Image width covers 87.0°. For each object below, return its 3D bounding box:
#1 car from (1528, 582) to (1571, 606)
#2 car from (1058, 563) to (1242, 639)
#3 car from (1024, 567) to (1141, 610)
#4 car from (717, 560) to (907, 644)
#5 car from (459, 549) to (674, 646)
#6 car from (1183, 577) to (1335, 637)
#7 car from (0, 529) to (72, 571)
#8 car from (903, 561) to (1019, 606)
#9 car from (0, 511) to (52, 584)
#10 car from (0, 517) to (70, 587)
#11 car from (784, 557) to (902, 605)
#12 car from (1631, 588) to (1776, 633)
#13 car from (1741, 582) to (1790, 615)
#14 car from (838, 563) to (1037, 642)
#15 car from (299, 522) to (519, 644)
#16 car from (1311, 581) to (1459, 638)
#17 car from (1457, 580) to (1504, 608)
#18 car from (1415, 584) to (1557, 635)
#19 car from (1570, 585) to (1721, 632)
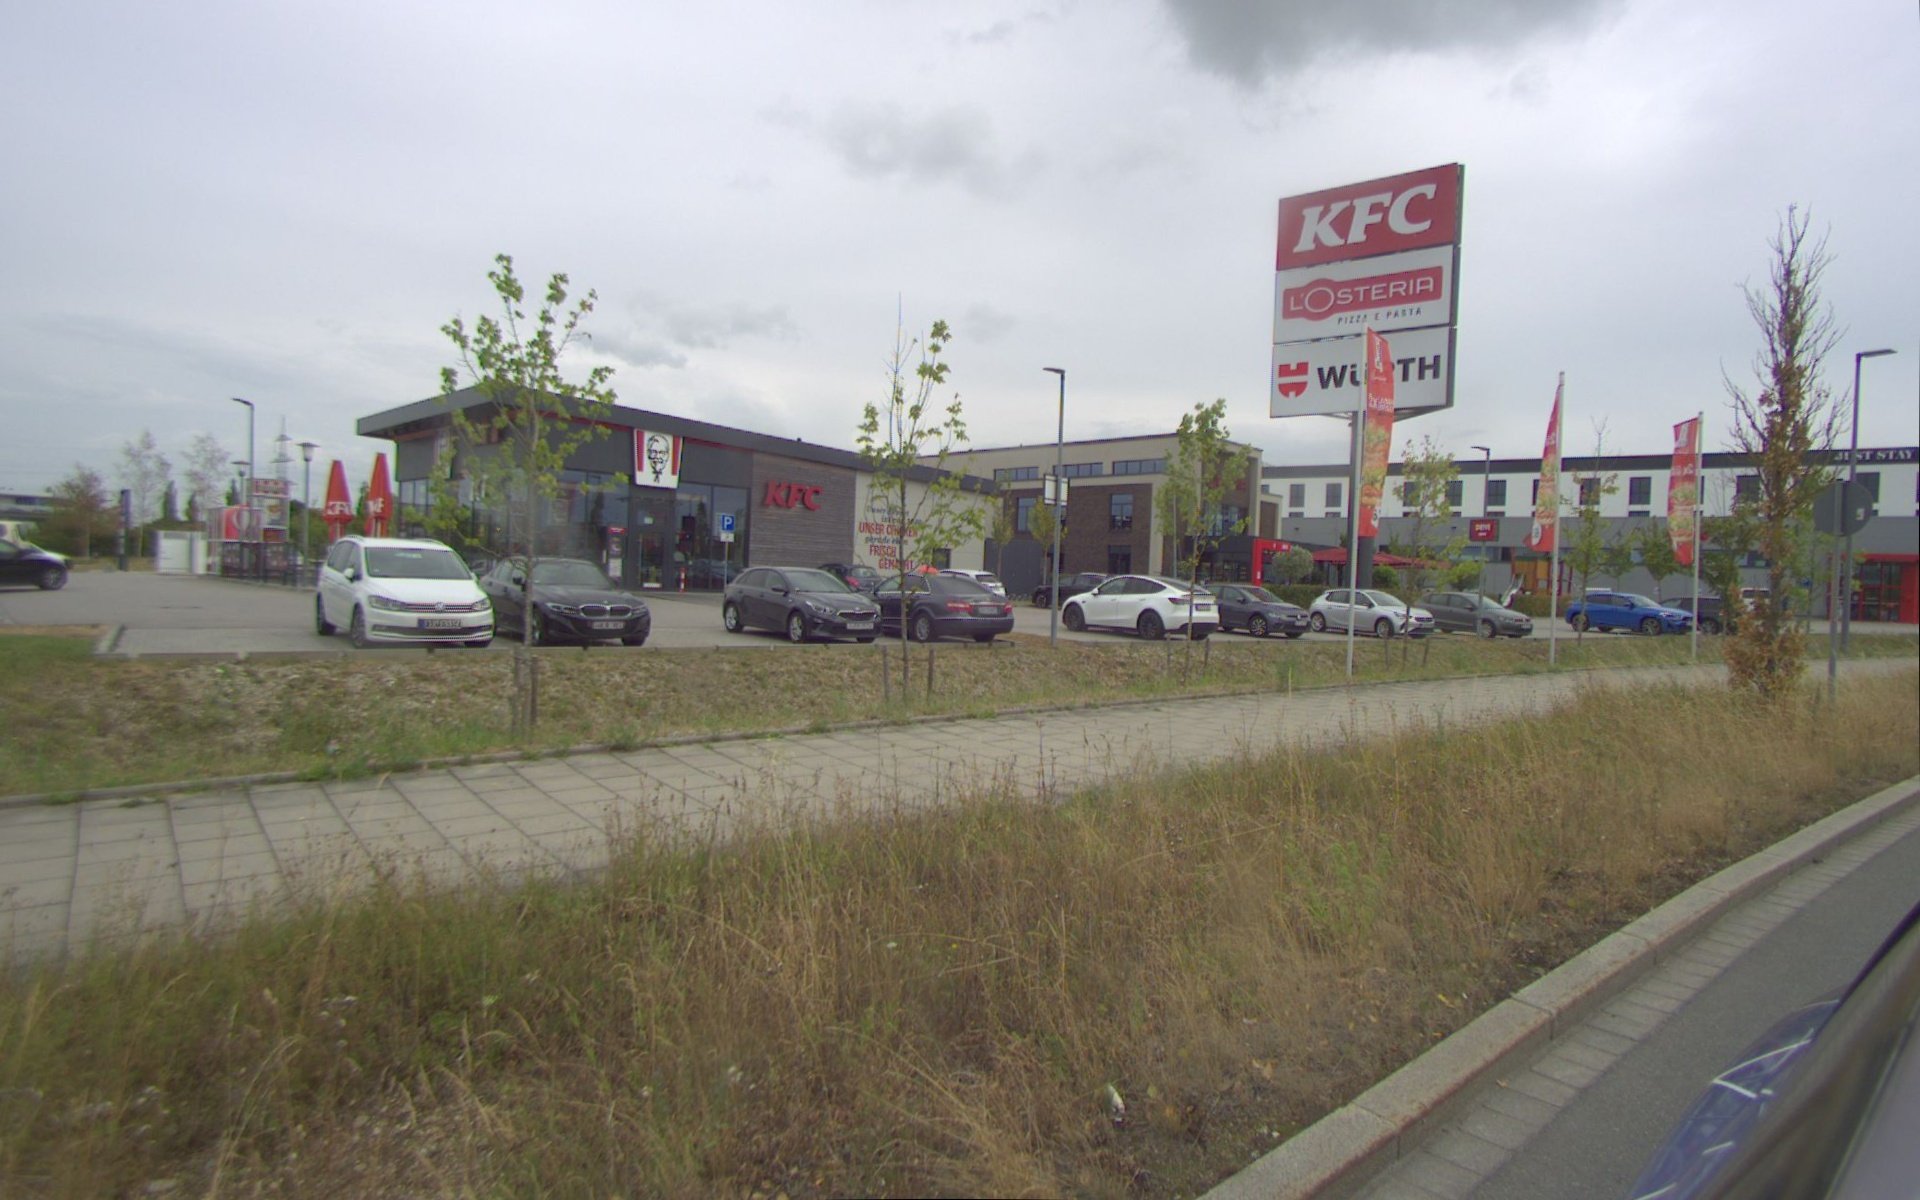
[{"bbox_3d":[42.353,-0.461,72.662,2.070,1.537,4.515,4,3,37],"label":"car"},{"bbox_3d":[4.830,-0.034,26.418,2.048,1.665,4.580,1,3,-34],"label":"car"},{"bbox_3d":[5.023,-0.513,41.938,4.564,1.537,1.946,4,3,45],"label":"car"},{"bbox_3d":[-3.103,-0.019,20.610,1.909,1.456,4.092,1,2,-41],"label":"car"},{"bbox_3d":[-6.971,-0.111,17.661,2.038,1.454,4.475,1,2,-42],"label":"car"},{"bbox_3d":[8.660,0.150,29.620,1.902,1.503,4.005,0,2,-30],"label":"car"},{"bbox_3d":[-47.509,-2.499,49.857,2.311,1.964,5.490,3,2,43],"label":"car"},{"bbox_3d":[-0.011,-0.676,40.362,2.046,1.537,4.567,0,3,-43],"label":"car"},{"bbox_3d":[-34.043,-1.830,33.445,5.579,2.380,2.538,1,1,-32],"label":"car"},{"bbox_3d":[-25.022,-1.232,25.521,1.964,1.723,4.388,2,3,-12],"label":"car"},{"bbox_3d":[-4.366,-0.716,37.293,4.367,1.537,2.015,4,3,45],"label":"car"},{"bbox_3d":[28.318,0.360,38.681,1.940,1.512,4.009,1,1,-22],"label":"car"},{"bbox_3d":[51.718,-0.114,65.058,1.986,2.012,4.580,2,1,33],"label":"car"},{"bbox_3d":[-0.606,0.003,22.123,1.995,1.487,4.529,1,2,-39],"label":"car"},{"bbox_3d":[-8.808,-0.315,16.000,1.906,1.660,4.351,1,2,-45],"label":"car"},{"bbox_3d":[13.126,0.253,31.469,1.864,1.499,3.881,1,3,-29],"label":"car"},{"bbox_3d":[33.439,-0.380,64.960,1.974,1.649,4.270,2,1,36],"label":"car"},{"bbox_3d":[17.357,0.276,33.553,1.851,1.512,3.777,1,1,-27],"label":"car"},{"bbox_3d":[25.760,0.288,38.189,1.925,1.539,4.285,1,1,-25],"label":"car"}]
